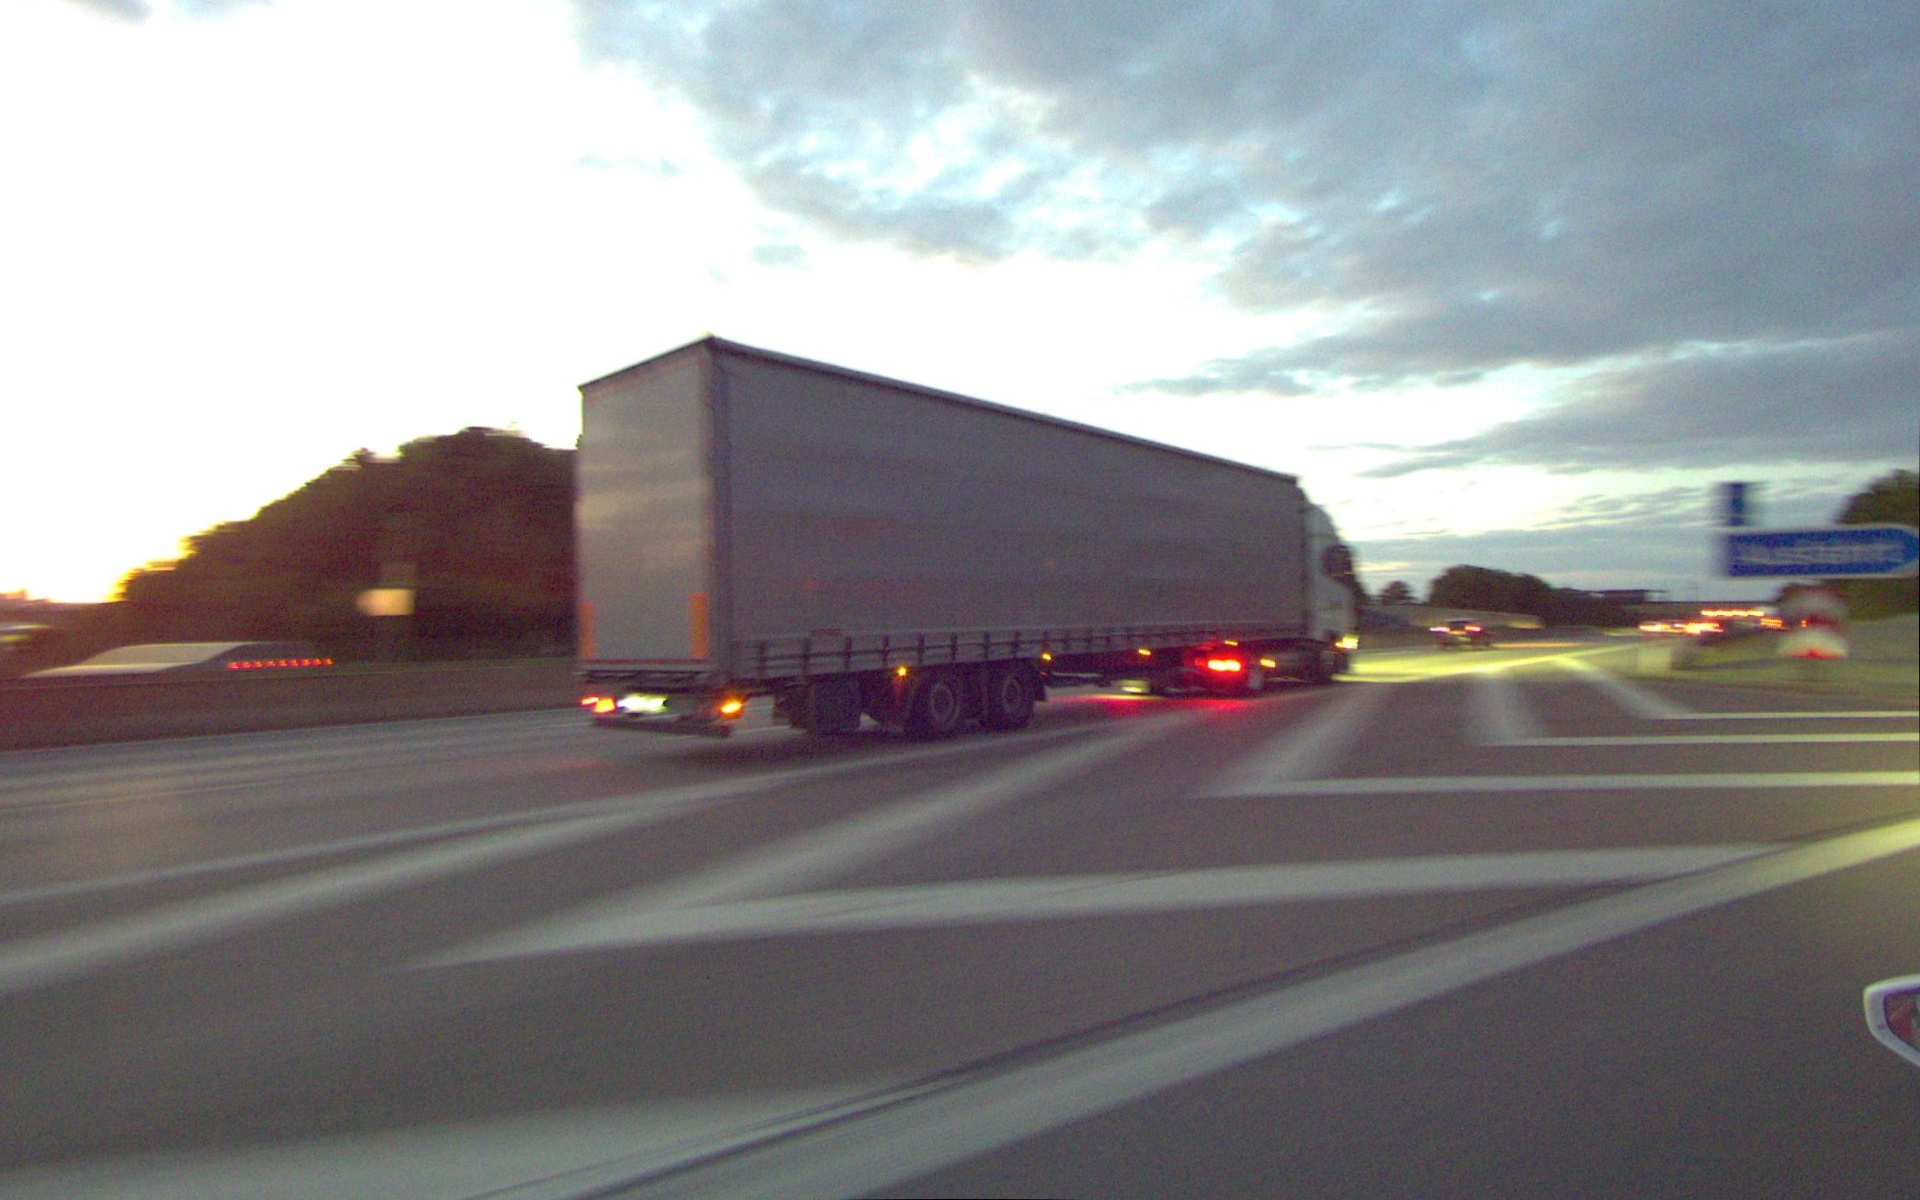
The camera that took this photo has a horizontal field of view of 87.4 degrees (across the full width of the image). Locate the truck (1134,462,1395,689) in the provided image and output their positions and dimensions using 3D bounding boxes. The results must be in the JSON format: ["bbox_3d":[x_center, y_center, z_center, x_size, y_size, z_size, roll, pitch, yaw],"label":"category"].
[{"bbox_3d":[6.443,-0.324,20.698,2.748,3.953,6.122,-4,-3,41],"label":"truck"}]

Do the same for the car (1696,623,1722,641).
[{"bbox_3d":[89.436,3.859,119.944,1.974,2.040,3.975,-4,-3,44],"label":"car"}]

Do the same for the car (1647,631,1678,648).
[{"bbox_3d":[78.624,4.417,112.401,4.521,1.664,1.975,0,-3,-43],"label":"car"}]

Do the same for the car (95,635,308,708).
[{"bbox_3d":[-19.130,1.740,25.466,1.970,1.532,3.981,2,1,40],"label":"car"}]

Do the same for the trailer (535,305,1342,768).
[{"bbox_3d":[1.503,-0.413,15.024,2.743,3.966,14.741,-4,-3,41],"label":"trailer"}]

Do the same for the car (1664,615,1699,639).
[{"bbox_3d":[63.655,2.351,88.615,1.973,2.040,3.976,-3,-3,44],"label":"car"}]

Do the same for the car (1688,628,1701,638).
[{"bbox_3d":[151.387,6.806,207.017,2.078,2.040,3.985,-4,-3,37],"label":"car"}]

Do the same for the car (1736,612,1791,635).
[{"bbox_3d":[73.565,2.098,92.018,2.224,2.040,5.147,0,-1,18],"label":"car"}]

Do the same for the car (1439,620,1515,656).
[{"bbox_3d":[24.110,1.756,46.763,1.973,1.518,4.522,-3,-3,43],"label":"car"}]
